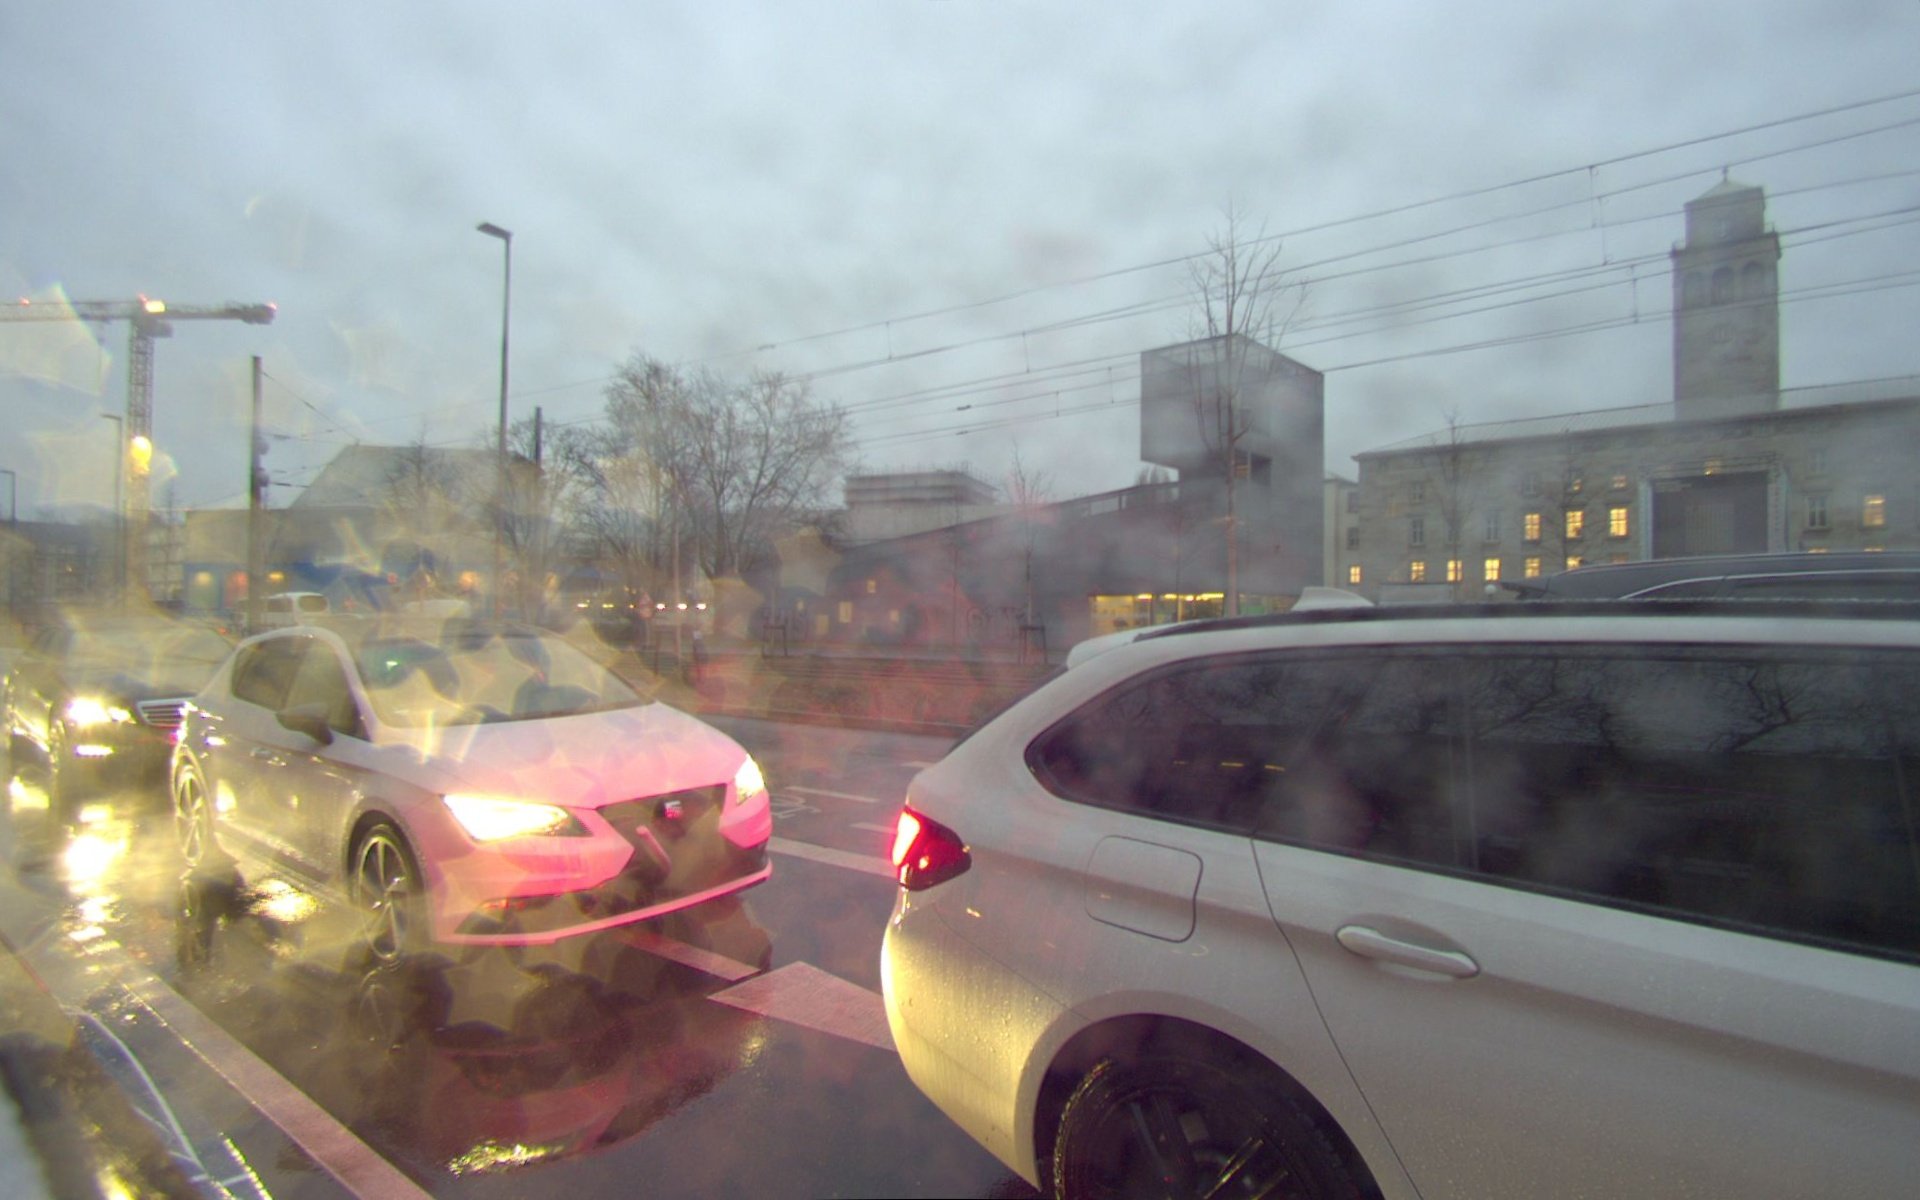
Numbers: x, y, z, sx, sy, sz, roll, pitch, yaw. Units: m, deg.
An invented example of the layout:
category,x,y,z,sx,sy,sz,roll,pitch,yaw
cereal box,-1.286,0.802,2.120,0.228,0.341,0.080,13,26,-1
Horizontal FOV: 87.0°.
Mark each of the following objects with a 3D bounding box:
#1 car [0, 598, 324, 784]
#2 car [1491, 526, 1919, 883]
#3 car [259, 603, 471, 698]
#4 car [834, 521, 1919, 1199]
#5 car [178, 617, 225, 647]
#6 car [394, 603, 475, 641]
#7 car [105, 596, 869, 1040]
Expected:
category,x,y,z,sx,sy,sz,roll,pitch,yaw
car,-8.475,0.786,10.379,4.501,1.498,1.974,-1,-2,39
car,5.234,0.474,4.996,4.289,1.596,1.946,-1,-1,42
car,-10.860,0.834,18.344,4.659,1.519,1.830,0,-1,39
car,2.072,0.671,1.677,4.557,1.498,1.996,-1,-2,41
car,-55.224,2.312,73.695,3.998,2.029,1.973,-1,0,41
car,-27.311,1.163,52.550,3.989,1.910,2.072,-1,-2,34
car,-2.826,0.770,5.577,4.497,1.498,1.926,-1,0,37
